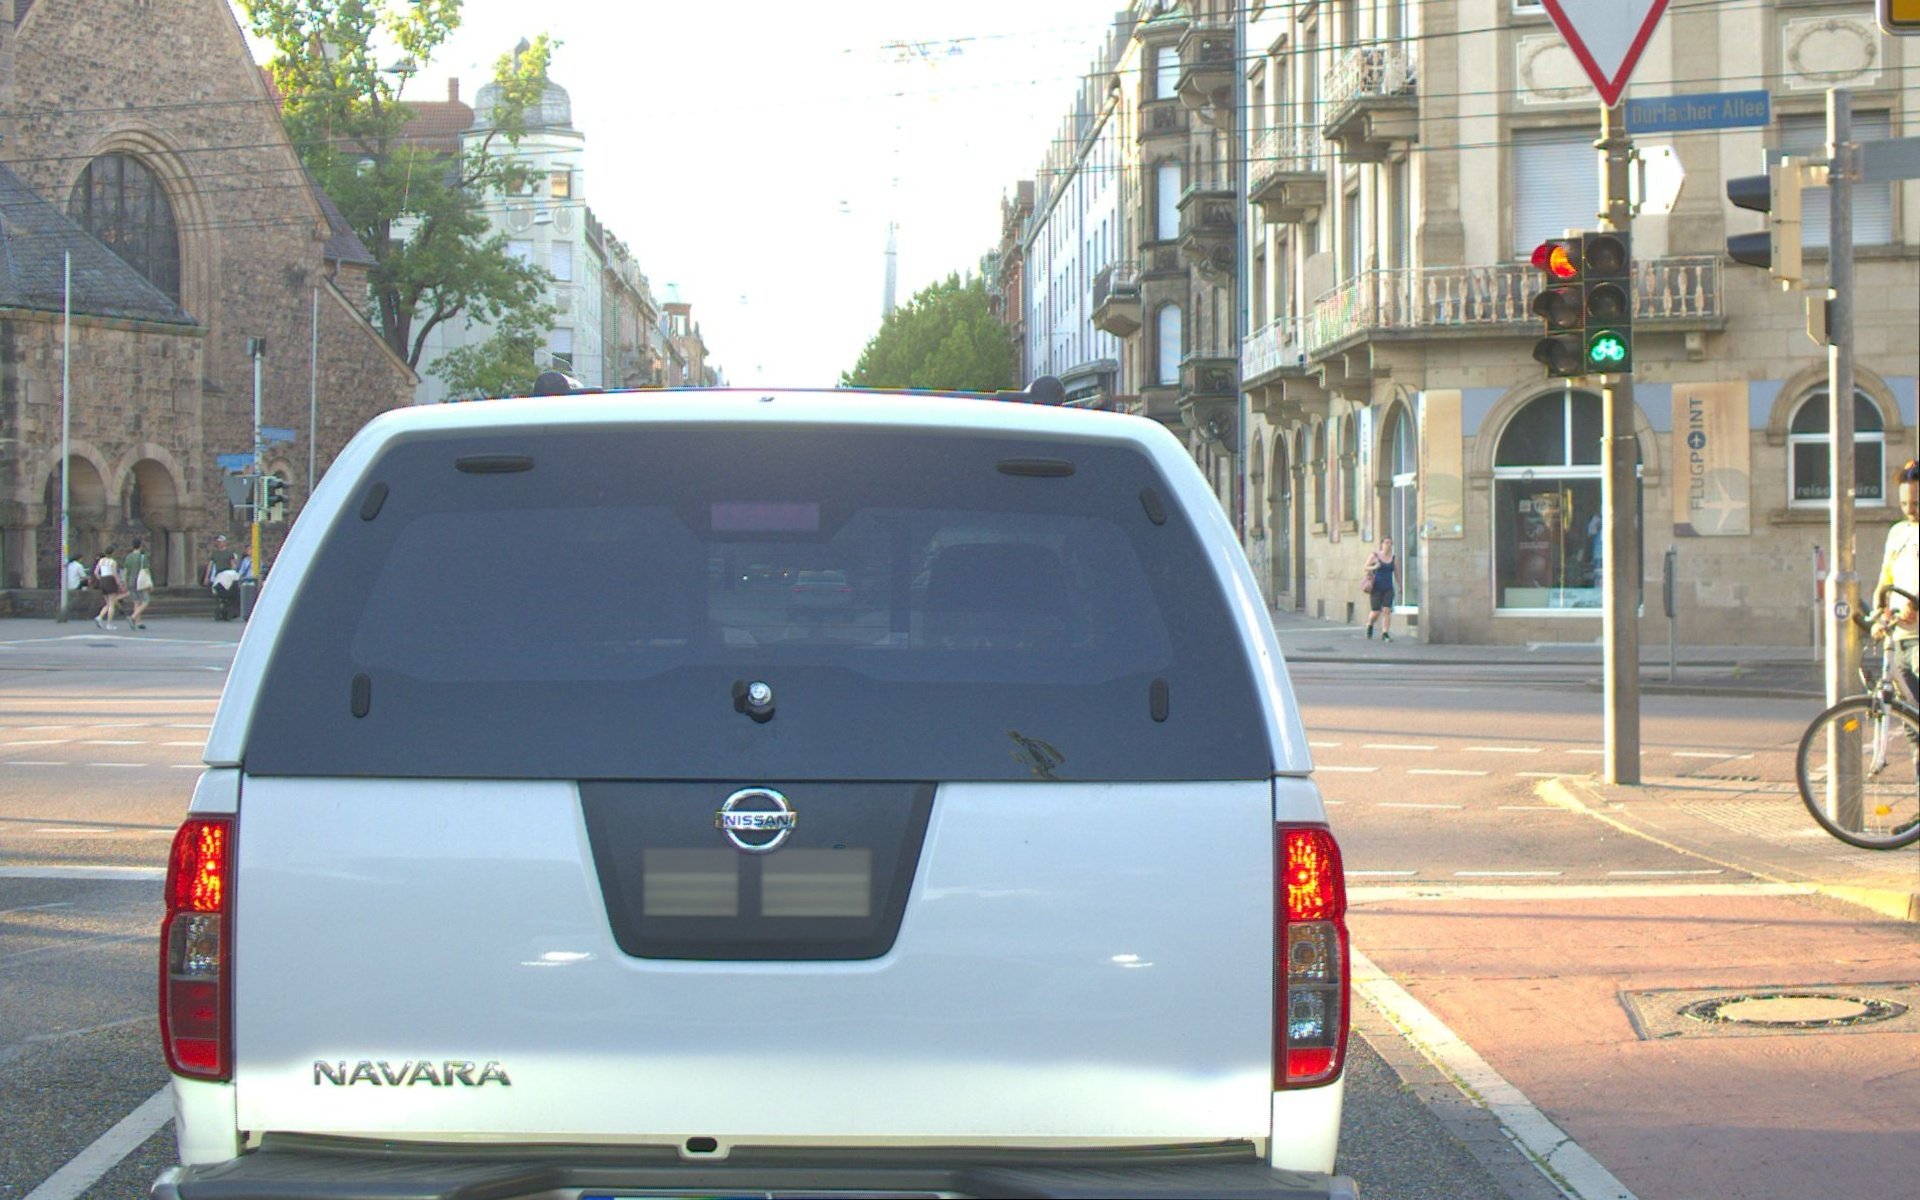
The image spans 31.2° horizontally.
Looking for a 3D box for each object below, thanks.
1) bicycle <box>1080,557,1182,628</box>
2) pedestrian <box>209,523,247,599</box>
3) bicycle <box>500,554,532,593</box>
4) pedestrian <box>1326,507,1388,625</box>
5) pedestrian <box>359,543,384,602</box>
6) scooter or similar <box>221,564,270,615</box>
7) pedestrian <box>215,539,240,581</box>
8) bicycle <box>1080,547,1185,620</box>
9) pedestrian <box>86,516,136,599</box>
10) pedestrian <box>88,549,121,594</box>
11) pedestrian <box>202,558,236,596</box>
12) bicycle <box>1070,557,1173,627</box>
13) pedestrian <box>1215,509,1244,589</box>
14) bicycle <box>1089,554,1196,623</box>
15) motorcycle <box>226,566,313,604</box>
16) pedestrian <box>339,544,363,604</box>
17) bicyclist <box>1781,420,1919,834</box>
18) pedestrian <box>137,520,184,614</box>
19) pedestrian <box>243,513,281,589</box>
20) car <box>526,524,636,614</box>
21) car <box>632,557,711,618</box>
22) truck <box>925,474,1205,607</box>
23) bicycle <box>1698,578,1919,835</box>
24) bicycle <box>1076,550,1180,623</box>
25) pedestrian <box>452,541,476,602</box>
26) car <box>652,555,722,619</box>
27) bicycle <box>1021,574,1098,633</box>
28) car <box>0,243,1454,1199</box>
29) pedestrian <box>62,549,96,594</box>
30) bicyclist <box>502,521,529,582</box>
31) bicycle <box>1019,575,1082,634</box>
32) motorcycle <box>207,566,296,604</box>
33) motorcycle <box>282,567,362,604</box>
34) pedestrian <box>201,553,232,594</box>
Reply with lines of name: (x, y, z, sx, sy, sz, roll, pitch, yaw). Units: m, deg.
bicycle: (3.219, -0.146, 64.613, 1.817, 1.233, 0.412, -3, 0, -2)
pedestrian: (-16.377, -0.871, 76.916, 0.634, 1.693, 0.602, 1, 0, 12)
bicycle: (-12.169, -0.728, 94.152, 0.599, 1.040, 1.946, 1, 0, -15)
pedestrian: (6.028, -0.521, 52.224, 0.788, 1.773, 0.543, 1, 0, 25)
pedestrian: (-17.089, -0.795, 99.824, 0.642, 1.690, 0.562, 1, 0, -1)
scooter or similar: (-15.755, -0.227, 75.836, 0.634, 1.099, 1.078, 2, 1, 15)
pedestrian: (-17.181, -0.938, 80.609, 0.521, 0.957, 0.479, 1, 0, -16)
bicycle: (3.164, -0.295, 63.175, 1.817, 1.233, 0.488, -3, 0, -2)
pedestrian: (-17.253, -0.867, 69.861, 0.812, 1.664, 0.860, 1, 0, -3)
pedestrian: (-18.587, -0.614, 74.693, 0.522, 0.957, 0.479, 1, 0, 19)
pedestrian: (-19.071, -0.587, 88.523, 0.552, 0.957, 0.709, 1, 0, 20)
bicycle: (3.089, -0.151, 65.749, 1.855, 1.233, 0.531, -3, 0, -2)
pedestrian: (5.565, -1.045, 71.029, 0.527, 1.648, 0.547, 1, 0, -1)
bicycle: (3.302, -0.205, 62.235, 1.817, 1.146, 0.636, -3, 0, -2)
motorcycle: (-18.819, -0.405, 93.723, 2.243, 0.984, 0.708, 1, 0, -6)
pedestrian: (-17.280, -0.746, 97.522, 0.642, 1.690, 0.562, 1, 0, -9)
bicyclist: (4.206, 0.119, 15.561, 0.696, 1.818, 0.628, 1, 0, -33)
pedestrian: (-16.258, -0.674, 69.931, 0.812, 1.894, 0.666, 1, 0, -3)
pedestrian: (-15.575, -1.093, 76.680, 0.634, 1.693, 0.602, 1, 0, 10)
car: (-8.124, -0.706, 74.113, 1.993, 1.778, 4.798, 1, 2, -2)
car: (-8.220, -0.338, 98.152, 1.993, 1.553, 4.768, 0, -2, -2)
truck: (2.148, -1.161, 68.787, 5.658, 2.556, 2.286, 0, 1, -44)
bicycle: (4.347, 0.466, 15.666, 2.065, 1.106, 0.628, 1, 0, -33)
bicycle: (3.119, -0.252, 63.886, 1.817, 1.233, 0.478, -3, 0, -2)
pedestrian: (-15.337, -0.882, 106.252, 0.642, 1.849, 0.562, 1, 0, -15)
car: (-8.697, -0.432, 110.004, 1.993, 2.007, 4.951, -1, 1, -2)
bicycle: (1.860, 0.066, 64.295, 1.371, 1.021, 0.317, -3, 0, -2)
car: (-0.354, 0.419, 6.727, 1.993, 1.803, 4.000, 1, 0, -1)
pedestrian: (-19.213, -0.624, 74.968, 0.522, 0.957, 0.479, 1, 0, 19)
bicyclist: (-12.179, -1.328, 94.249, 0.599, 1.639, 0.963, 1, 0, -14)
bicycle: (1.676, 0.082, 63.583, 1.076, 1.021, 0.317, -3, 0, -2)
motorcycle: (-18.889, -0.396, 91.695, 2.243, 0.984, 0.708, 1, 0, -6)
motorcycle: (-17.822, -0.403, 96.012, 2.167, 0.984, 0.593, 1, 0, 19)
pedestrian: (-17.387, -0.625, 80.404, 0.522, 0.957, 0.479, 1, 0, 17)
